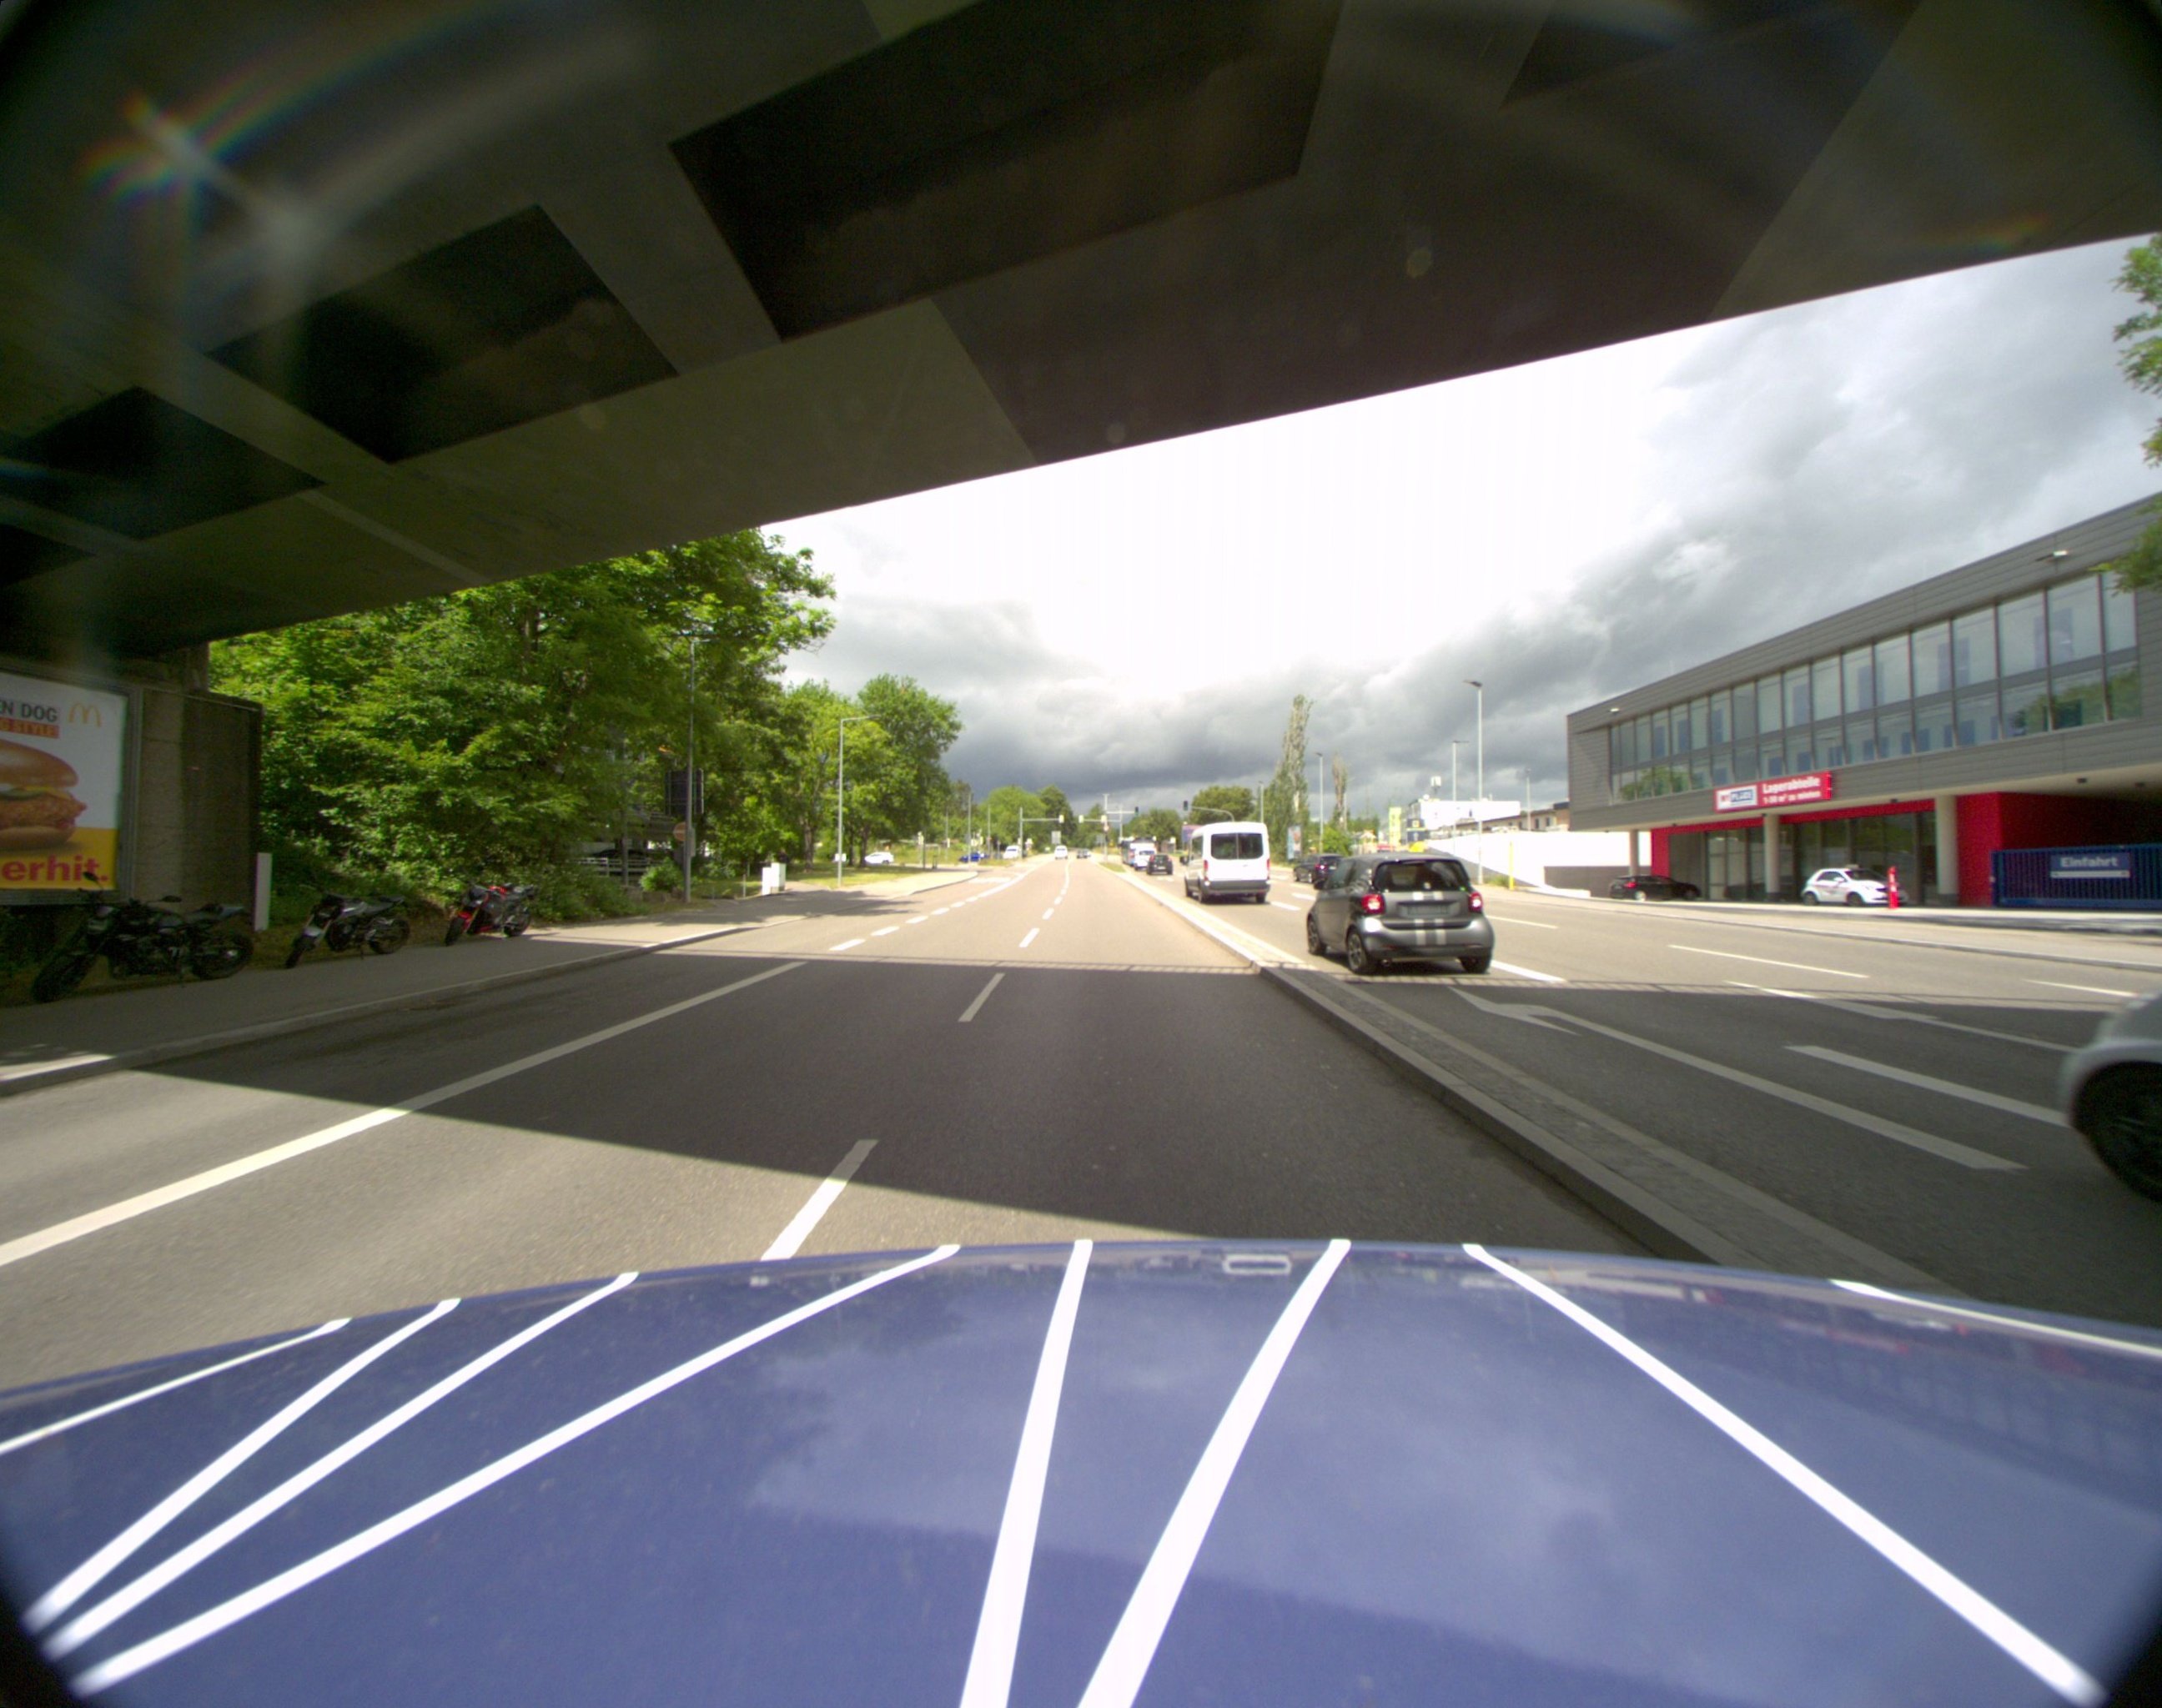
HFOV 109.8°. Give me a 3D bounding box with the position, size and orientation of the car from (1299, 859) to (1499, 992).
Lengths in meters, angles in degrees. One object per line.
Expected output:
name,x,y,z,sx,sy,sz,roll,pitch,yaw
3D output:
car,4.146,0.848,10.328,1.572,1.522,2.738,-1,0,0

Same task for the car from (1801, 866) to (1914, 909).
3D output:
car,30.758,1.292,30.188,1.571,1.573,2.846,0,0,0

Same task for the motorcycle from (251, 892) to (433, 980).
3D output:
motorcycle,-10.756,1.146,11.182,0.679,1.076,2.038,0,0,0

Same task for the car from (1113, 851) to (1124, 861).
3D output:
car,7.588,0.385,154.292,1.998,2.002,4.000,-1,0,1

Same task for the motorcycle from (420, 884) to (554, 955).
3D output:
motorcycle,-10.603,1.132,13.681,0.679,1.076,2.180,0,0,0

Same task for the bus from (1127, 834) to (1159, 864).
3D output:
bus,6.467,-0.526,79.910,2.650,2.929,8.536,-2,1,0

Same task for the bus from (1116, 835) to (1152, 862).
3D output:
bus,6.085,-0.624,88.849,2.651,2.919,9.782,-2,1,-4

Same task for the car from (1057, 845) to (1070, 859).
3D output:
car,-2.808,-0.316,121.594,1.999,2.267,3.998,-1,0,-4

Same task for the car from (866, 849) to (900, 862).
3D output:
car,-26.371,0.154,101.378,4.081,1.735,1.999,0,0,-5

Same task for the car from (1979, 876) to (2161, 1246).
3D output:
car,5.182,0.856,2.185,1.509,1.480,3.115,-1,0,-1

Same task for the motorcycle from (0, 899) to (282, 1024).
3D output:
motorcycle,-10.734,1.158,8.791,0.679,1.136,2.160,0,0,0

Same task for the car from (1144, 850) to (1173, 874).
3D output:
car,5.486,0.540,53.956,1.640,1.582,4.255,-1,0,0

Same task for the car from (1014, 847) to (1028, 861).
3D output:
car,-8.707,-0.015,110.646,1.999,1.888,4.081,0,1,-3

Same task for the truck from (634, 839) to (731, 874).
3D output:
truck,-47.914,0.329,91.467,10.079,3.981,2.789,-1,0,-1

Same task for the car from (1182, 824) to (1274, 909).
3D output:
car,4.702,0.358,25.160,2.045,2.458,5.572,-1,0,1

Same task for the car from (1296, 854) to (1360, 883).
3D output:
car,11.793,0.656,36.539,1.998,1.346,4.001,0,0,3

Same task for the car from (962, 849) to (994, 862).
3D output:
car,-13.795,0.196,101.751,4.079,1.735,2.000,0,0,1

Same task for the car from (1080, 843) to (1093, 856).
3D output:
car,0.831,-0.694,122.365,1.998,2.002,4.000,-1,0,1

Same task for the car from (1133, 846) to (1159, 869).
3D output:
car,5.442,0.292,64.440,1.827,1.796,4.255,-1,0,0

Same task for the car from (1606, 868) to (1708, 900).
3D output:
car,30.806,1.595,40.722,3.997,1.608,1.959,0,0,0

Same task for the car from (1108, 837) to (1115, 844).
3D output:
car,8.876,-3.867,222.273,1.998,2.002,4.001,-1,0,2

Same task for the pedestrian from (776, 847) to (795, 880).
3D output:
pedestrian,-16.328,0.535,41.970,0.952,1.801,0.717,0,1,-22
